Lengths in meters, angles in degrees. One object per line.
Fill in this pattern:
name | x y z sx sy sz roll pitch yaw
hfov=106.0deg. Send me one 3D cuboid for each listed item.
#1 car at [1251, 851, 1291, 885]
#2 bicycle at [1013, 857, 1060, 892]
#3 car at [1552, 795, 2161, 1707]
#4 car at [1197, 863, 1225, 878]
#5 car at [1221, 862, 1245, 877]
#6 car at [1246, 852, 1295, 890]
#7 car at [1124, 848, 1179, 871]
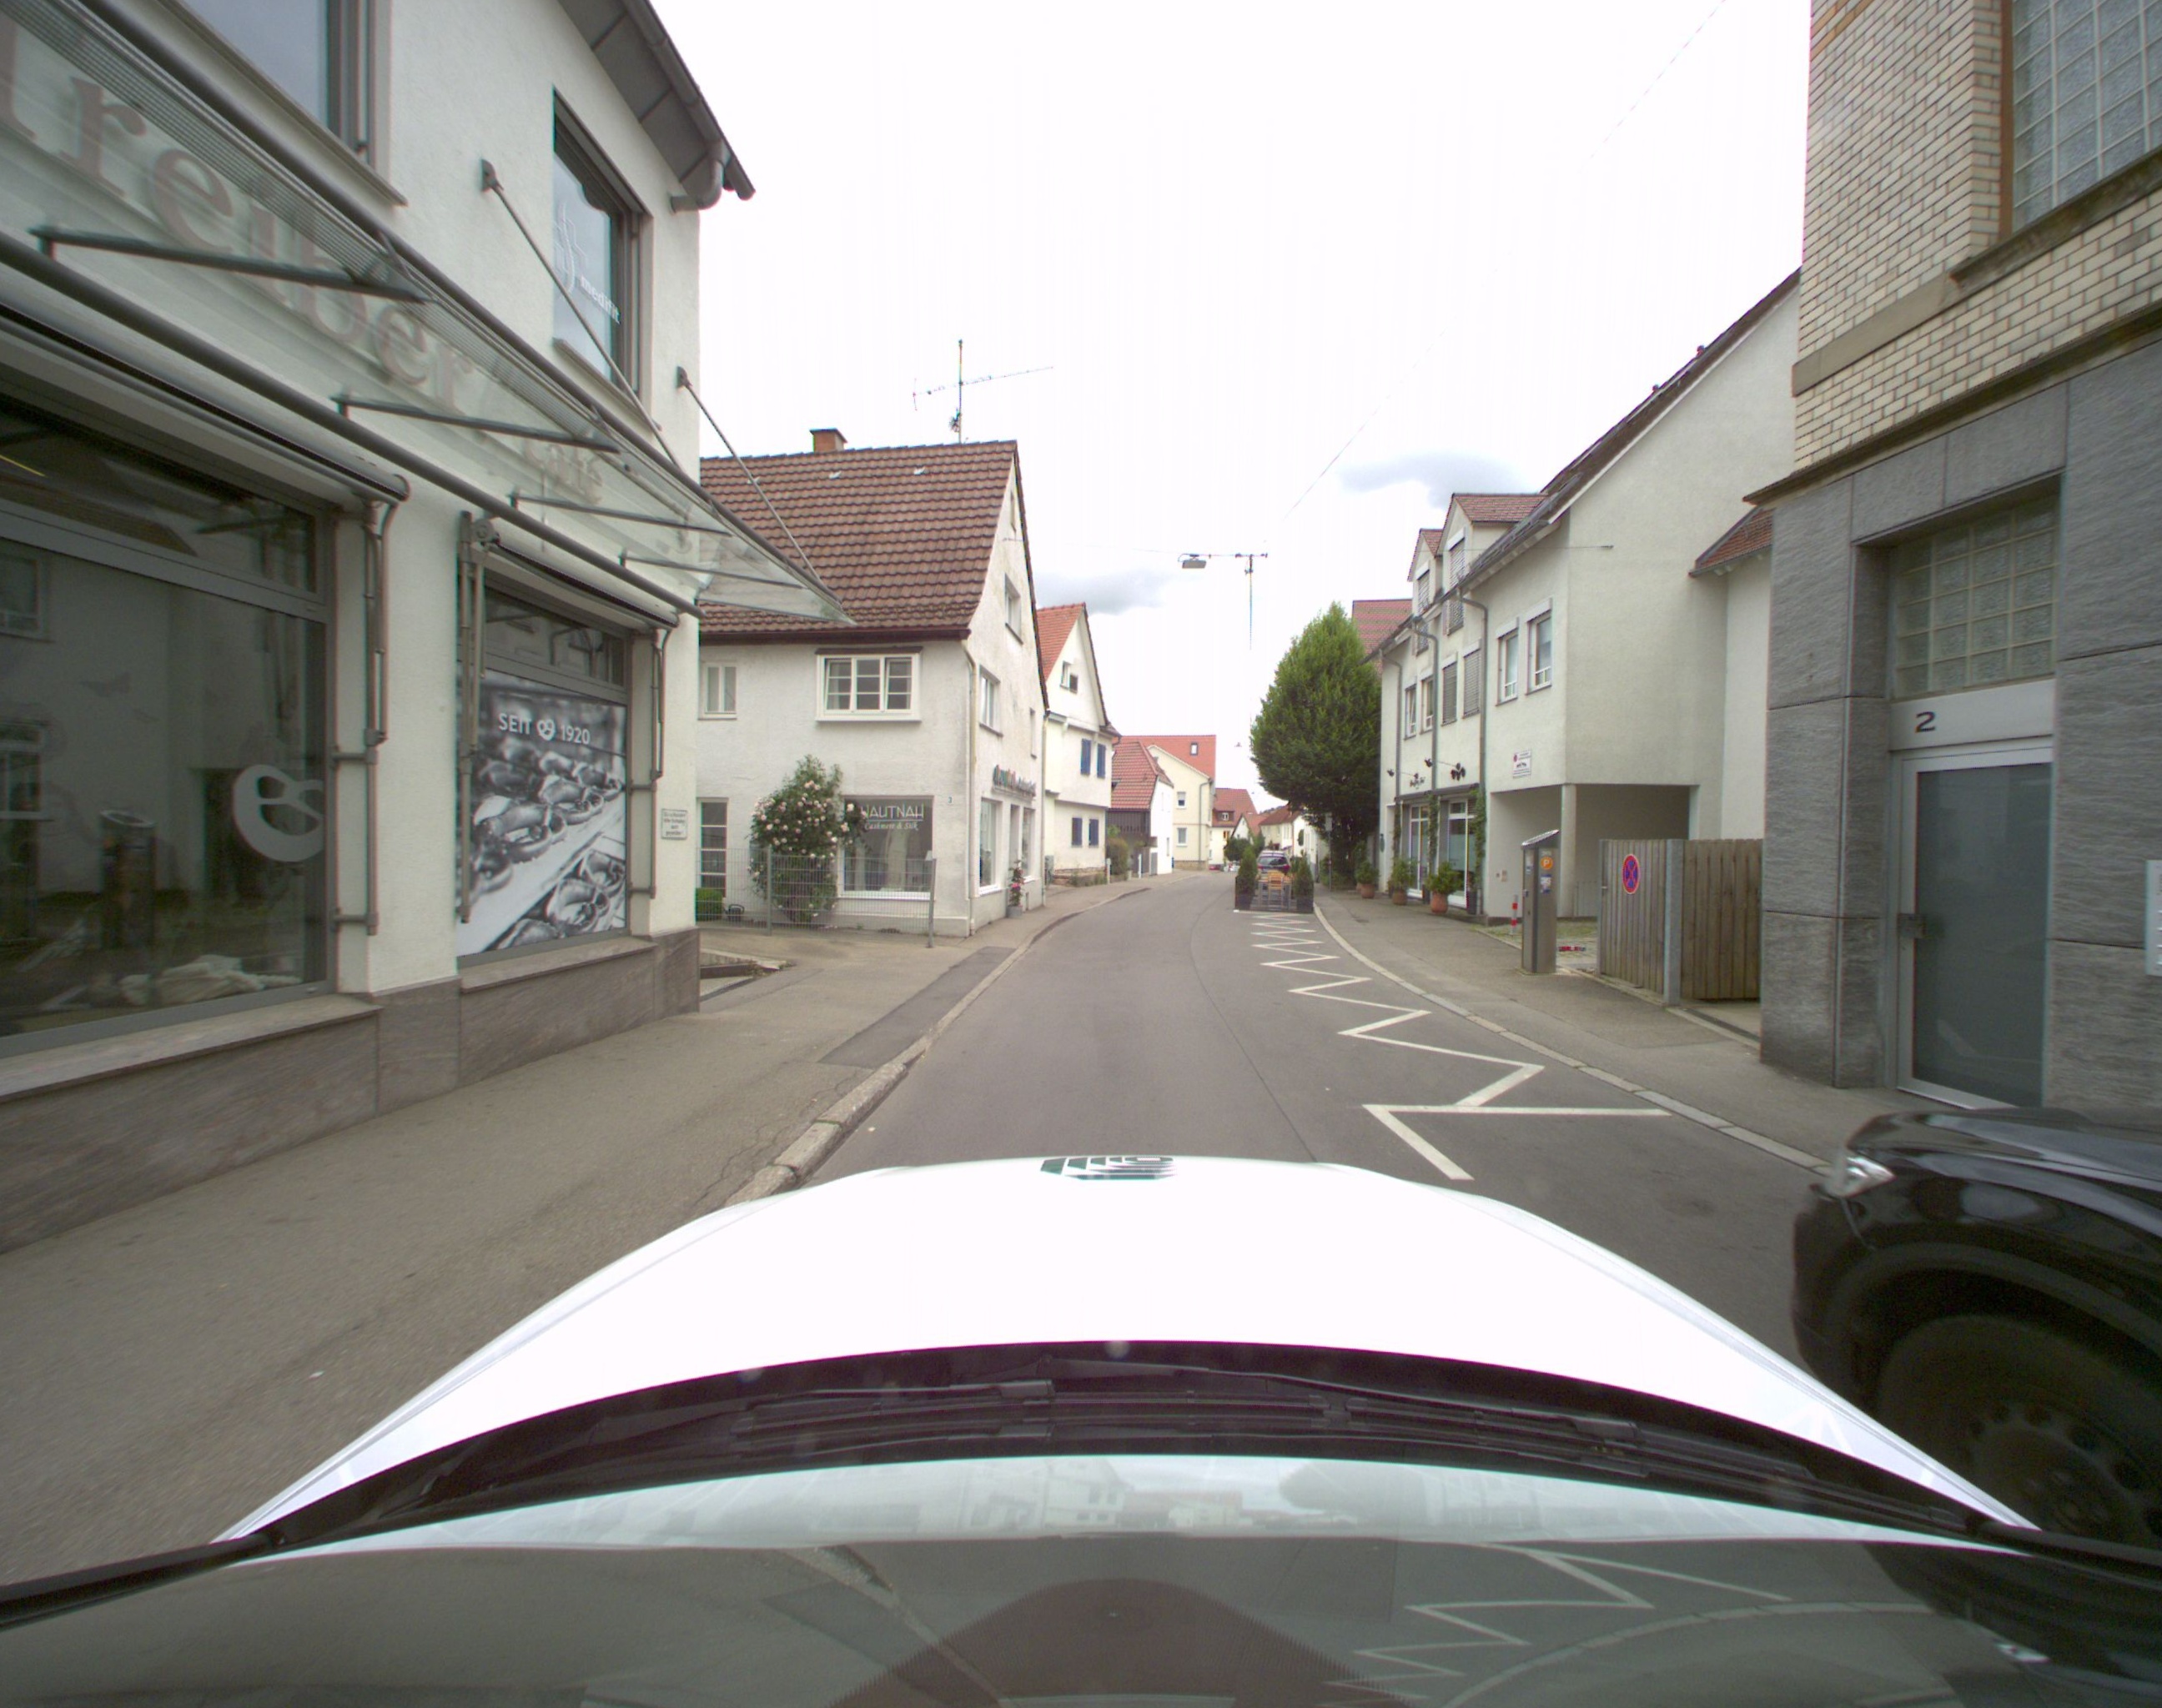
car | 9.786 0.682 42.021 1.850 1.633 4.918 1 0 13
bicycle | -1.416 0.633 26.458 0.438 1.038 2.105 6 3 27
car | 2.752 0.737 0.557 1.787 1.600 4.530 2 0 -8
car | 17.808 2.265 111.657 2.002 1.684 3.970 -4 -2 -22
car | 19.705 1.995 105.723 1.959 1.713 3.994 2 0 -5
car | 8.426 0.720 36.073 1.934 1.508 4.838 2 0 14
car | 5.340 0.437 61.681 3.702 1.411 2.129 4 -1 17
